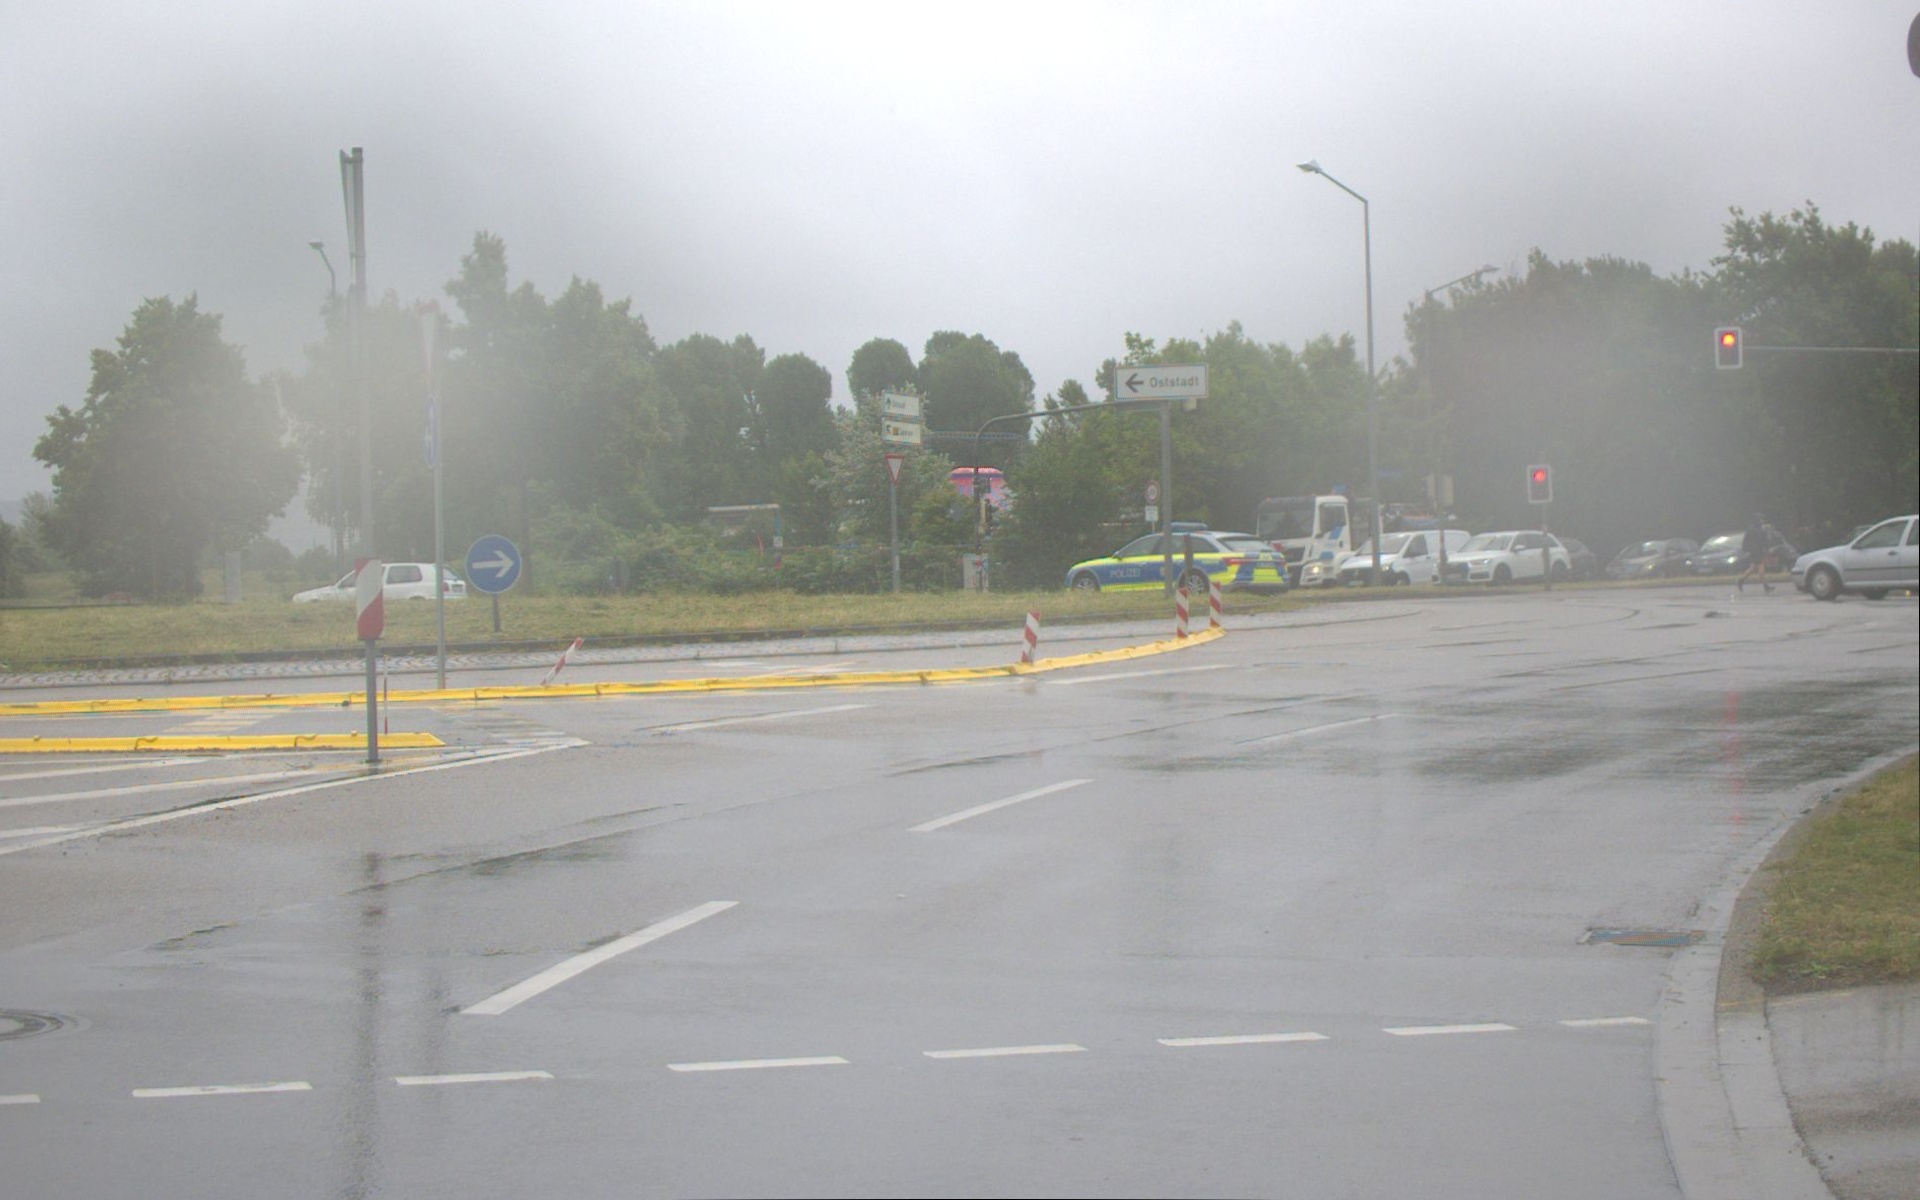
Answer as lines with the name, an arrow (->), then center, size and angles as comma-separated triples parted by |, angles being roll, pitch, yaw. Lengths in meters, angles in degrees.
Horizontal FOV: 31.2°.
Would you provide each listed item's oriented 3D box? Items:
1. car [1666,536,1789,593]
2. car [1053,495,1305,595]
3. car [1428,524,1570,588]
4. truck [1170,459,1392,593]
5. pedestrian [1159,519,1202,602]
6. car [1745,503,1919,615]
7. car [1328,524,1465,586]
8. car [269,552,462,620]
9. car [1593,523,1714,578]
car -> 23.493, -1.073, 105.152 | 1.800, 1.656, 4.399 | 1, 0, 41
car -> 4.197, -1.045, 66.454 | 1.995, 1.845, 4.773 | -2, 1, -42
car -> 14.850, -1.205, 94.595 | 1.800, 1.656, 4.399 | 1, 0, 41
truck -> 7.053, -1.539, 74.379 | 2.464, 2.677, 8.049 | 1, 0, 23
pedestrian -> 3.486, -0.630, 54.335 | 0.453, 1.300, 0.485 | -1, 1, 38
car -> 15.863, -0.678, 58.123 | 1.994, 1.845, 4.774 | 1, 0, -40
car -> 12.236, -1.247, 96.204 | 1.800, 1.656, 4.124 | 1, 0, 41
car -> -13.467, -0.321, 77.984 | 3.976, 1.449, 1.623 | -1, 1, 9
car -> 21.892, -1.565, 108.431 | 1.800, 1.656, 4.399 | -1, 1, 41
